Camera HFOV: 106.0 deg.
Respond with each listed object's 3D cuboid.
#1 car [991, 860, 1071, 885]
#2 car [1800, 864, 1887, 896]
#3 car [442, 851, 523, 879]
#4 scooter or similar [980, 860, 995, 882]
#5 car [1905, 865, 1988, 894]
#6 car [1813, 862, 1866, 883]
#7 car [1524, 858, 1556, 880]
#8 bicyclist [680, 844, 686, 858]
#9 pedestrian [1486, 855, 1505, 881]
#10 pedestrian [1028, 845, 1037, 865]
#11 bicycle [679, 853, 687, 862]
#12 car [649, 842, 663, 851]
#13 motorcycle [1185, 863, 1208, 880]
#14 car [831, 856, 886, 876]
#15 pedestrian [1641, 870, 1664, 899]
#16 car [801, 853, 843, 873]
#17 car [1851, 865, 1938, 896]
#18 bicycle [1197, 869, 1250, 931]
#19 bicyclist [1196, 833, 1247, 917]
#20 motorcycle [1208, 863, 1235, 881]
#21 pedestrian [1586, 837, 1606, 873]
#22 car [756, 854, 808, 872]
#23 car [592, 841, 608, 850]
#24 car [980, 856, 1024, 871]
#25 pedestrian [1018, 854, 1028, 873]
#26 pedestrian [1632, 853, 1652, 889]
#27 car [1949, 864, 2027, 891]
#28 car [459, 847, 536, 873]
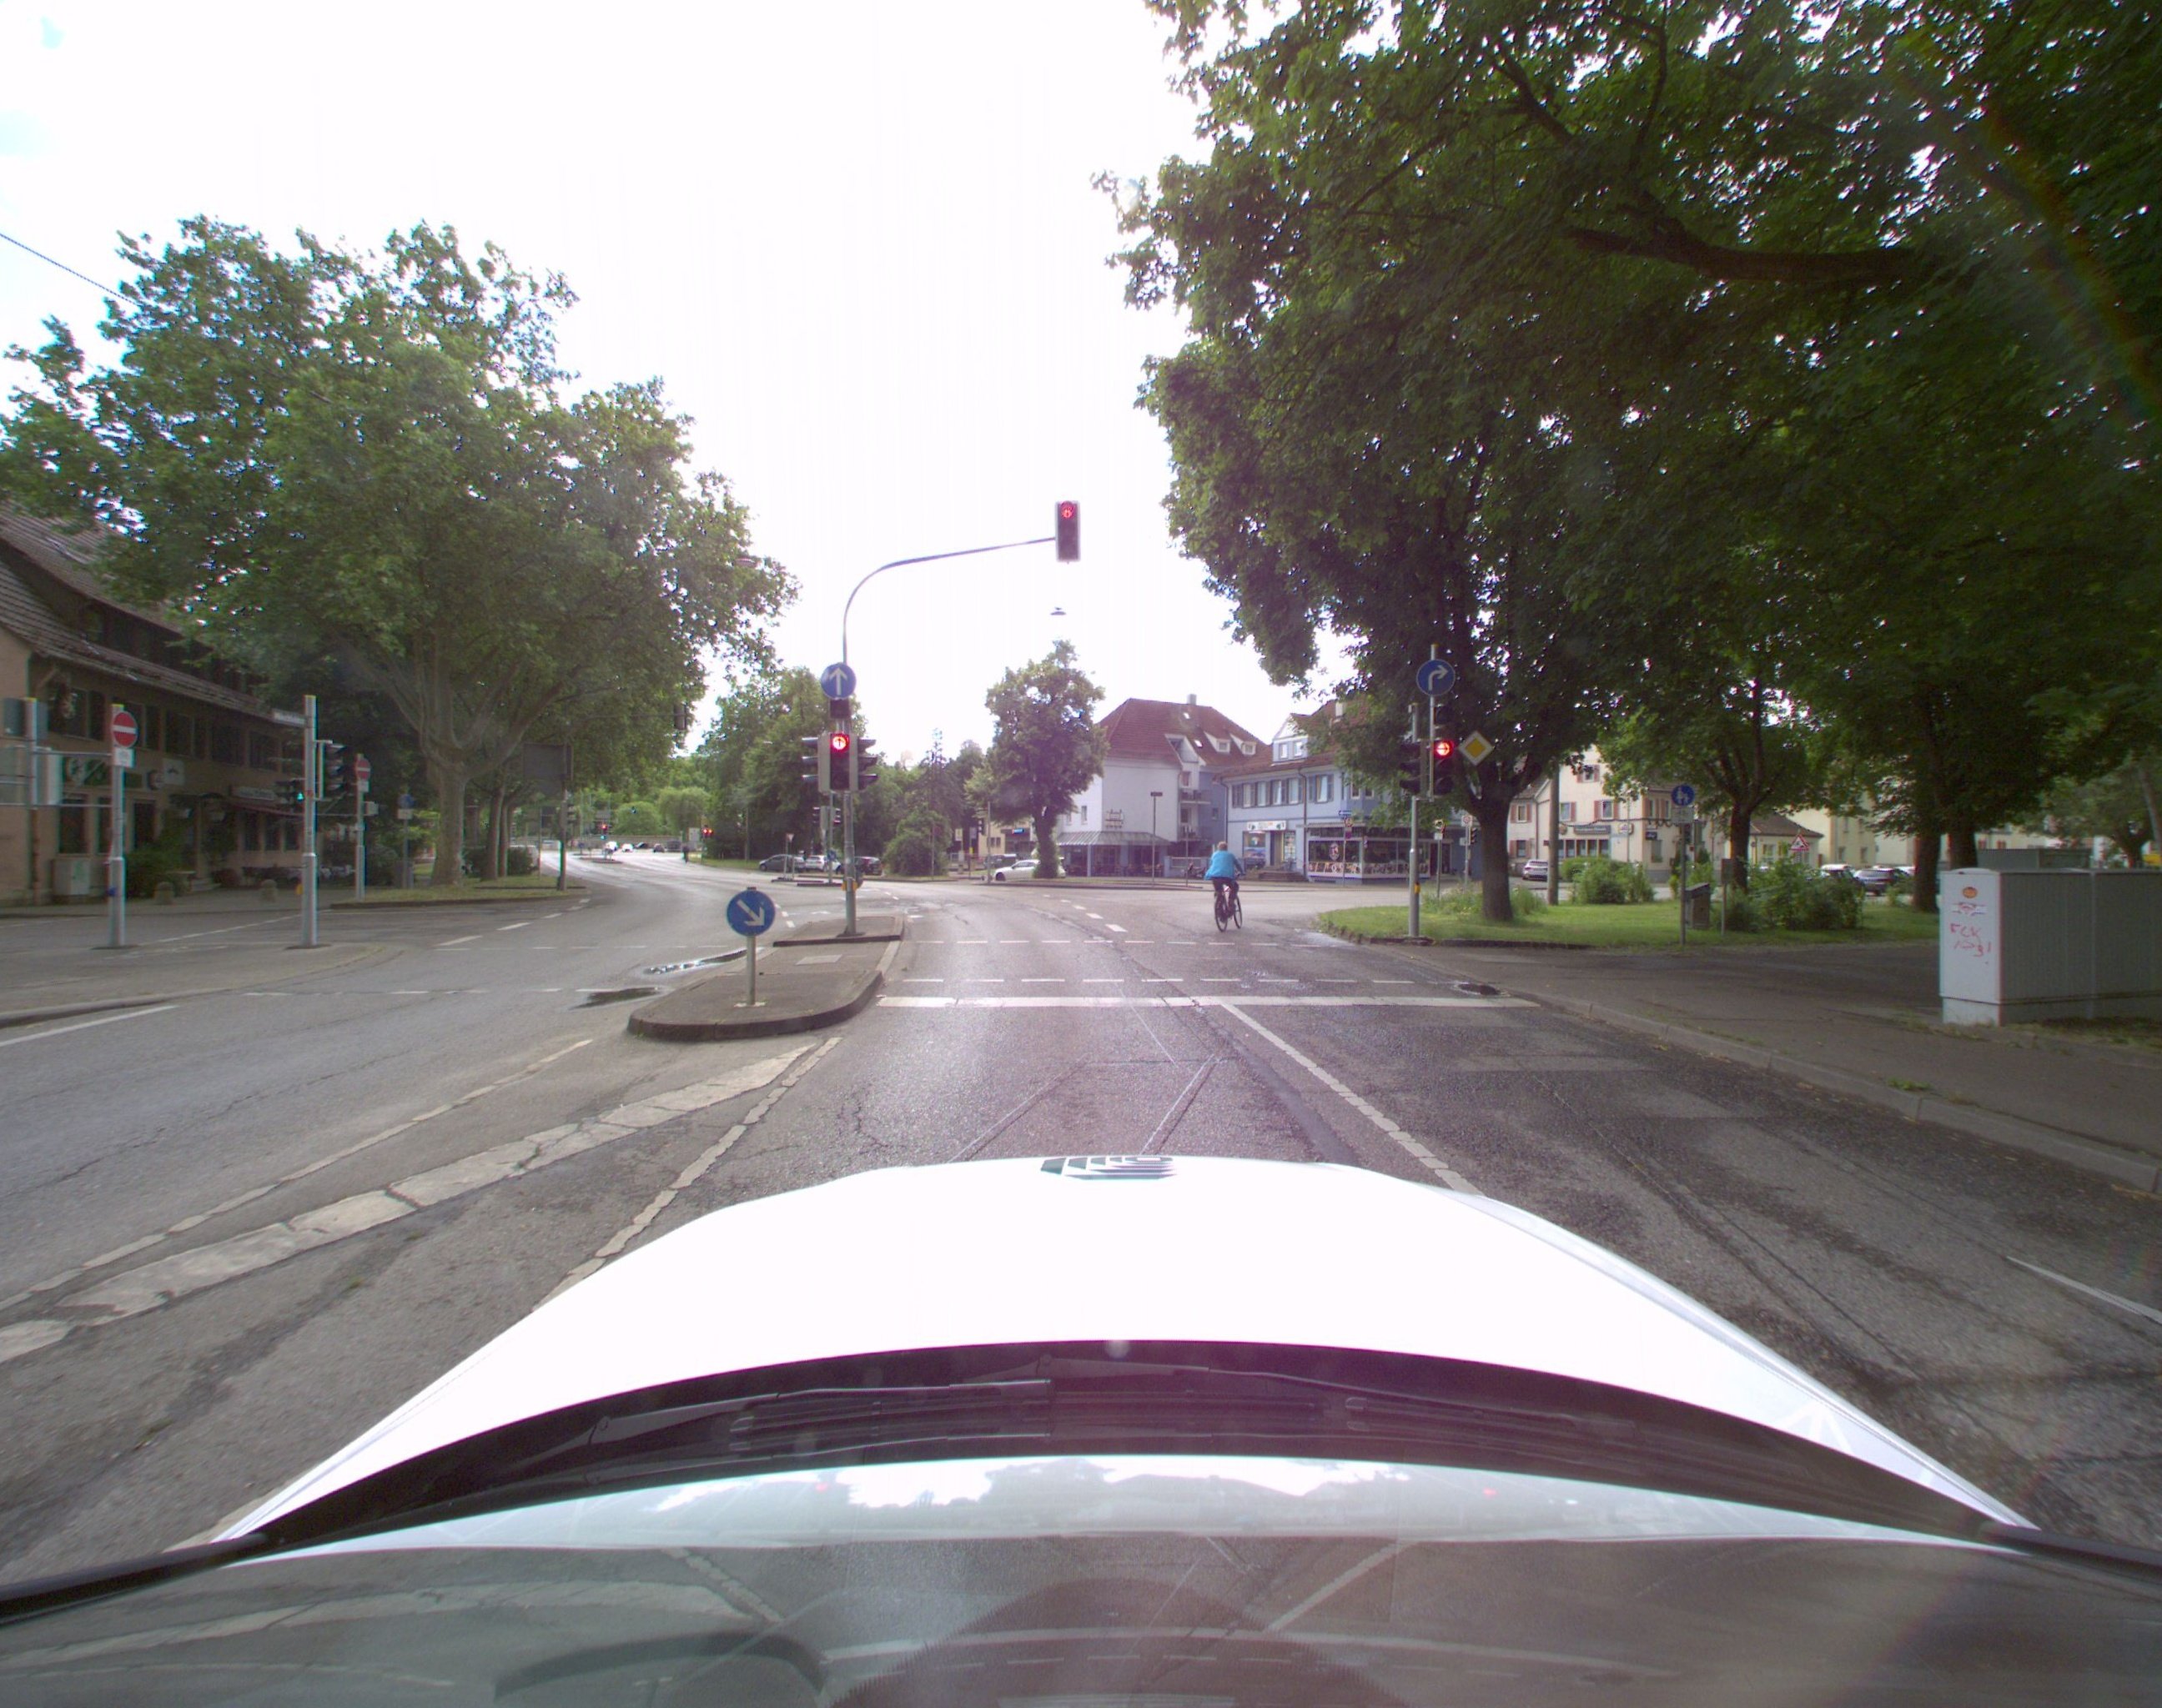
[{"bbox_3d":[-3.022,1.087,49.059,4.654,1.410,1.914,0,0,35],"label":"car"},{"bbox_3d":[36.814,1.236,39.345,3.472,1.457,1.639,0,0,-19],"label":"car"},{"bbox_3d":[-37.141,0.670,50.666,4.017,1.684,1.978,0,0,-35],"label":"car"},{"bbox_3d":[-5.284,0.947,45.902,0.439,1.175,1.441,0,0,9],"label":"scooter or similar"},{"bbox_3d":[45.885,1.311,43.173,3.733,1.457,1.639,0,0,-19],"label":"car"},{"bbox_3d":[54.640,1.318,58.671,3.873,1.447,1.752,0,-1,-30],"label":"car"},{"bbox_3d":[30.890,1.003,54.807,1.867,1.391,3.636,0,0,29],"label":"car"},{"bbox_3d":[-39.994,-0.294,81.809,0.543,1.342,0.707,0,0,-31],"label":"bicyclist"},{"bbox_3d":[25.141,0.852,49.405,0.671,1.560,0.743,0,-1,-14],"label":"pedestrian"},{"bbox_3d":[-3.705,0.084,62.447,0.539,1.560,0.469,-1,-1,14],"label":"pedestrian"},{"bbox_3d":[-39.978,0.341,81.779,0.560,0.958,2.013,0,0,-30],"label":"bicycle"},{"bbox_3d":[-78.494,-1.330,150.469,2.007,1.596,3.960,0,-1,-32],"label":"car"},{"bbox_3d":[7.582,1.119,53.505,1.441,1.088,0.527,0,0,35],"label":"motorcycle"},{"bbox_3d":[-15.503,0.799,56.736,3.286,1.352,1.791,0,0,27],"label":"car"},{"bbox_3d":[21.583,1.155,30.752,0.505,1.081,0.514,0,-1,-14],"label":"pedestrian"},{"bbox_3d":[-22.226,0.767,69.931,1.848,1.640,3.766,0,0,11],"label":"car"},{"bbox_3d":[41.205,1.315,41.264,3.733,1.457,1.639,0,0,-19],"label":"car"},{"bbox_3d":[2.926,0.903,16.568,0.867,1.149,1.961,0,0,15],"label":"bicycle"},{"bbox_3d":[2.857,0.412,16.461,0.908,1.651,0.993,0,0,16],"label":"bicyclist"},{"bbox_3d":[8.930,1.139,51.745,1.609,1.088,0.631,0,0,32],"label":"motorcycle"},{"bbox_3d":[22.869,0.042,36.182,0.724,1.560,0.773,-1,-1,31],"label":"pedestrian"},{"bbox_3d":[-24.591,0.713,66.966,3.743,1.465,1.629,0,0,18],"label":"car"},{"bbox_3d":[-91.106,-1.591,154.277,3.292,1.486,1.595,-1,-2,41],"label":"car"},{"bbox_3d":[-7.673,0.918,78.897,3.950,1.442,1.741,0,0,-20],"label":"car"},{"bbox_3d":[-6.002,0.984,83.965,0.838,2.014,1.051,0,0,-14],"label":"pedestrian"},{"bbox_3d":[25.220,0.762,36.638,0.687,1.560,0.671,-1,-1,31],"label":"pedestrian"},{"bbox_3d":[51.318,1.313,46.080,3.733,1.457,1.639,0,0,-19],"label":"car"},{"bbox_3d":[-38.050,0.383,53.205,4.017,1.684,1.978,0,0,-35],"label":"car"}]
